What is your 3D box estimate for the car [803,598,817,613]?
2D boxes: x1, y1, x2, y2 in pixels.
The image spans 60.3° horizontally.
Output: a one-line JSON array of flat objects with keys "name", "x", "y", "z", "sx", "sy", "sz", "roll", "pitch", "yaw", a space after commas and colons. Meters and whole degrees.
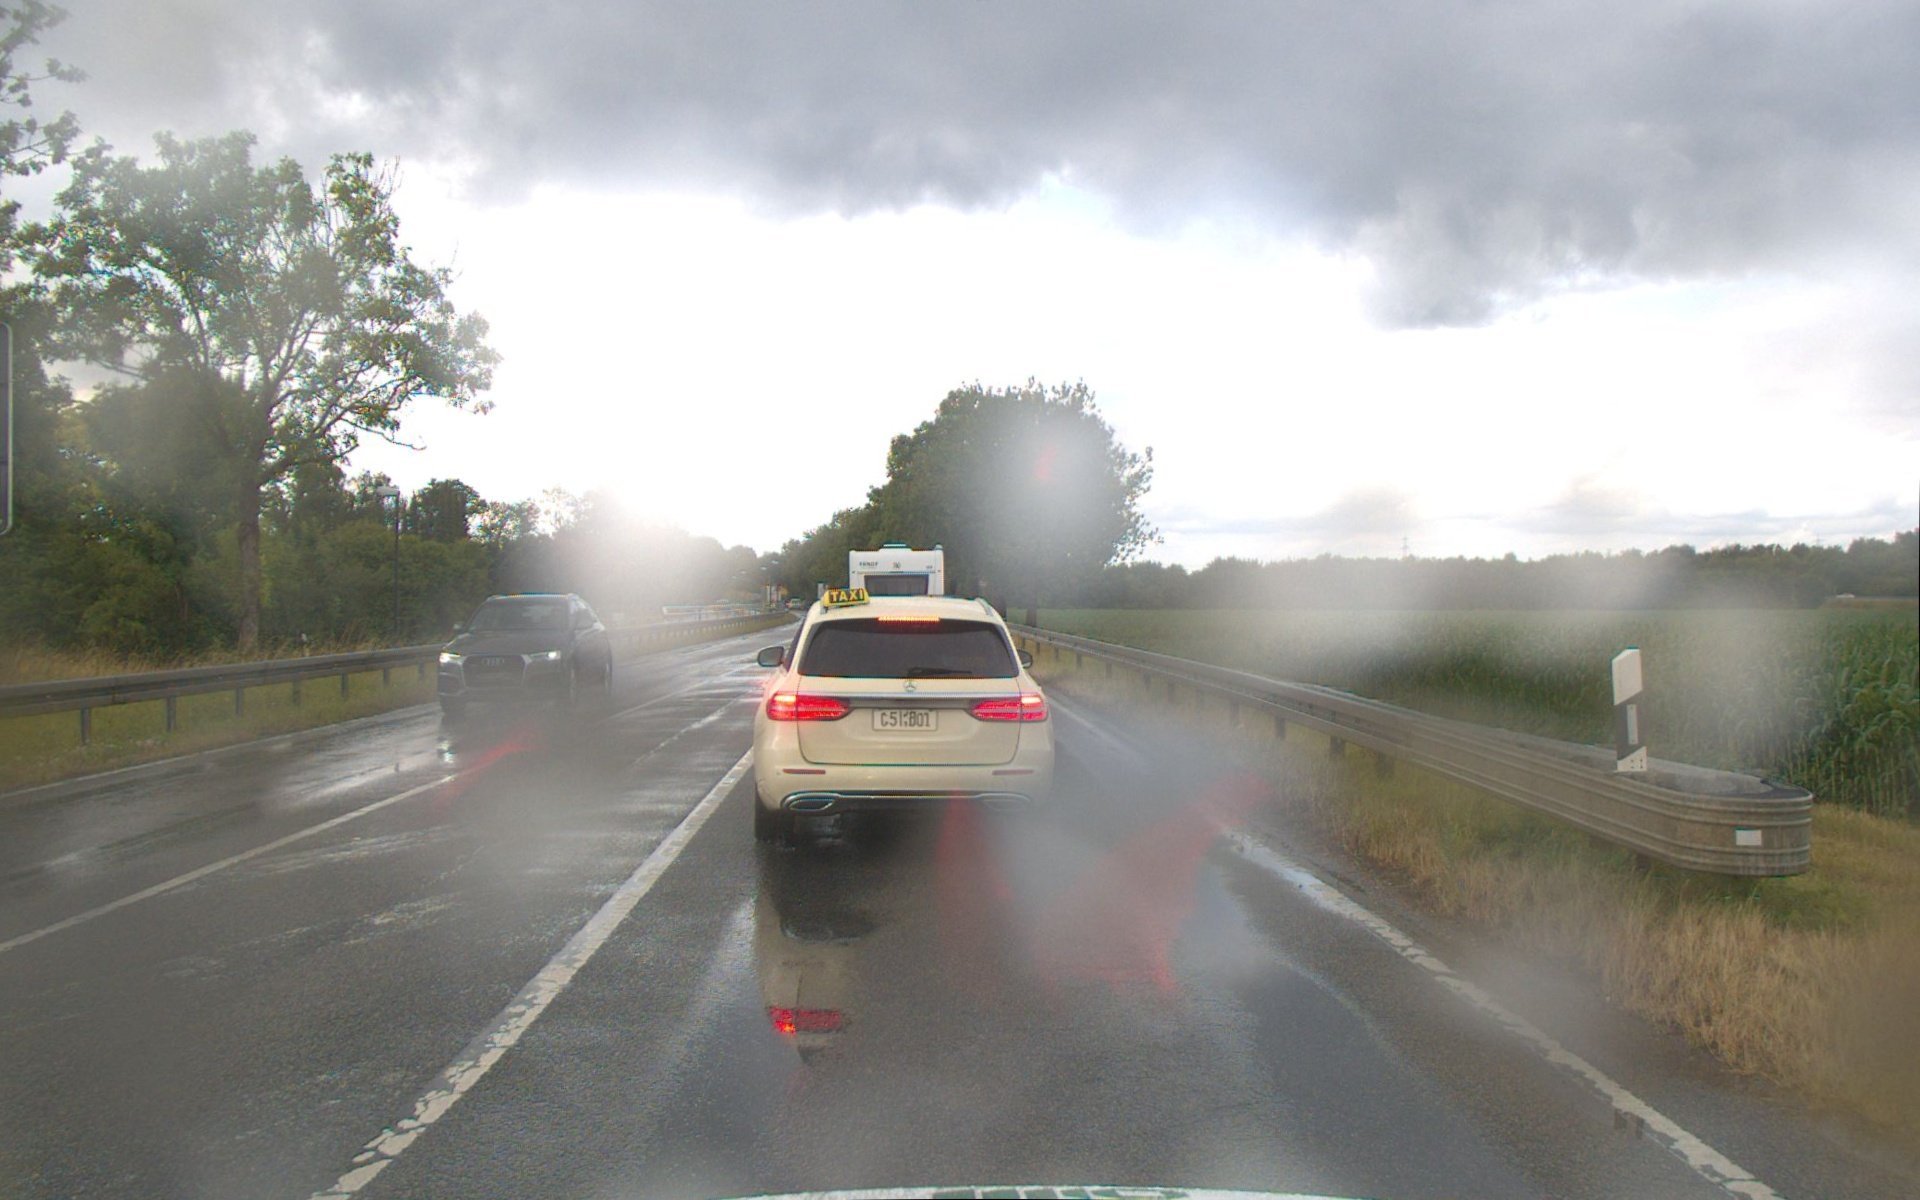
[{"name": "car", "x": -21.452, "y": 0.800, "z": 236.616, "sx": 1.956, "sy": 2.049, "sz": 3.994, "roll": 0, "pitch": 0, "yaw": -7}]

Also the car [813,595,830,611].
[{"name": "car", "x": -16.844, "y": 0.365, "z": 201.560, "sx": 1.954, "sy": 2.049, "sz": 3.996, "roll": 0, "pitch": 0, "yaw": -4}]

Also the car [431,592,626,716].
[{"name": "car", "x": -6.016, "y": 0.694, "z": 23.555, "sx": 1.733, "sy": 1.550, "sz": 4.140, "roll": -2, "pitch": 0, "yaw": -1}]

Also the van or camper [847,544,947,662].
[{"name": "van or camper", "x": -1.561, "y": 0.051, "z": 41.278, "sx": 2.303, "sy": 2.727, "sz": 5.766, "roll": 0, "pitch": 0, "yaw": -2}]

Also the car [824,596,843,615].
[{"name": "car", "x": -14.518, "y": 0.637, "z": 189.404, "sx": 1.953, "sy": 2.087, "sz": 3.999, "roll": 0, "pitch": 0, "yaw": -1}]

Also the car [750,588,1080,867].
[{"name": "car", "x": -0.275, "y": 0.696, "z": 11.055, "sx": 1.788, "sy": 1.511, "sz": 4.144, "roll": 0, "pitch": 0, "yaw": -1}]

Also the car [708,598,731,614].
[{"name": "car", "x": -26.290, "y": 0.661, "z": 181.110, "sx": 1.953, "sy": 1.680, "sz": 3.999, "roll": 0, "pitch": 0, "yaw": -1}]

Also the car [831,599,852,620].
[{"name": "car", "x": -11.933, "y": 0.973, "z": 165.970, "sx": 1.955, "sy": 2.049, "sz": 3.994, "roll": 0, "pitch": 0, "yaw": -6}]

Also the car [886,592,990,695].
[{"name": "car", "x": -0.404, "y": 0.662, "z": 27.408, "sx": 1.594, "sy": 1.556, "sz": 3.931, "roll": 0, "pitch": 0, "yaw": -2}]
